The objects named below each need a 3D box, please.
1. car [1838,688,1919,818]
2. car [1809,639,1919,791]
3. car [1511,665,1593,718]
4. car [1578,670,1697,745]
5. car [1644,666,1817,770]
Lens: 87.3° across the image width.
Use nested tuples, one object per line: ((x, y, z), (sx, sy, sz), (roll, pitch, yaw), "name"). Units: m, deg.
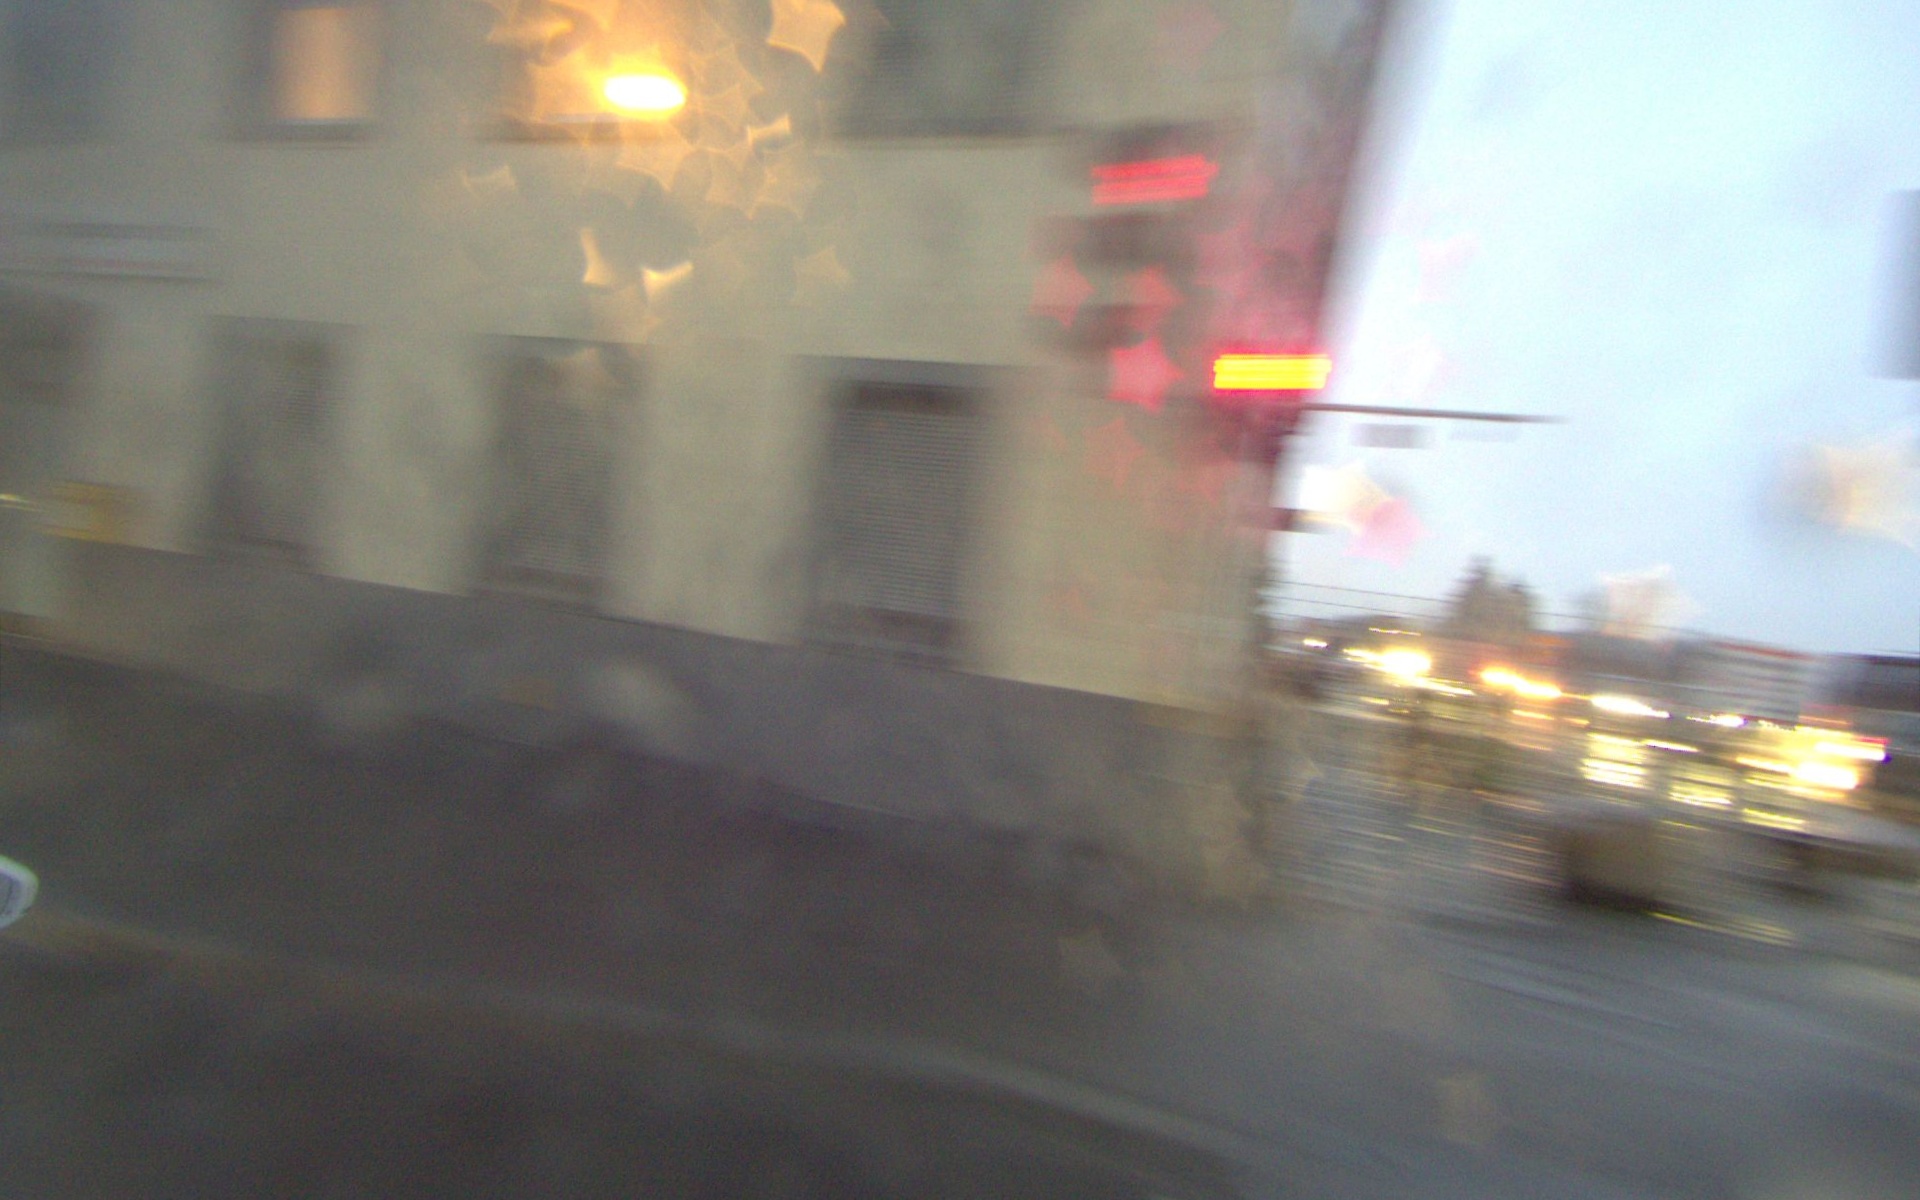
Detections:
((14.775, 2.334, 14.303), (1.963, 1.768, 3.999), (6, 0, 20), "car")
((19.849, 2.405, 19.679), (2.364, 2.928, 6.251), (9, 1, 18), "car")
((21.672, 3.295, 36.950), (1.695, 1.625, 3.929), (6, -1, 19), "car")
((19.237, 2.990, 28.758), (1.695, 1.744, 3.929), (6, -1, 19), "car")
((17.192, 2.552, 22.679), (1.799, 1.791, 3.752), (7, 1, 19), "car")
